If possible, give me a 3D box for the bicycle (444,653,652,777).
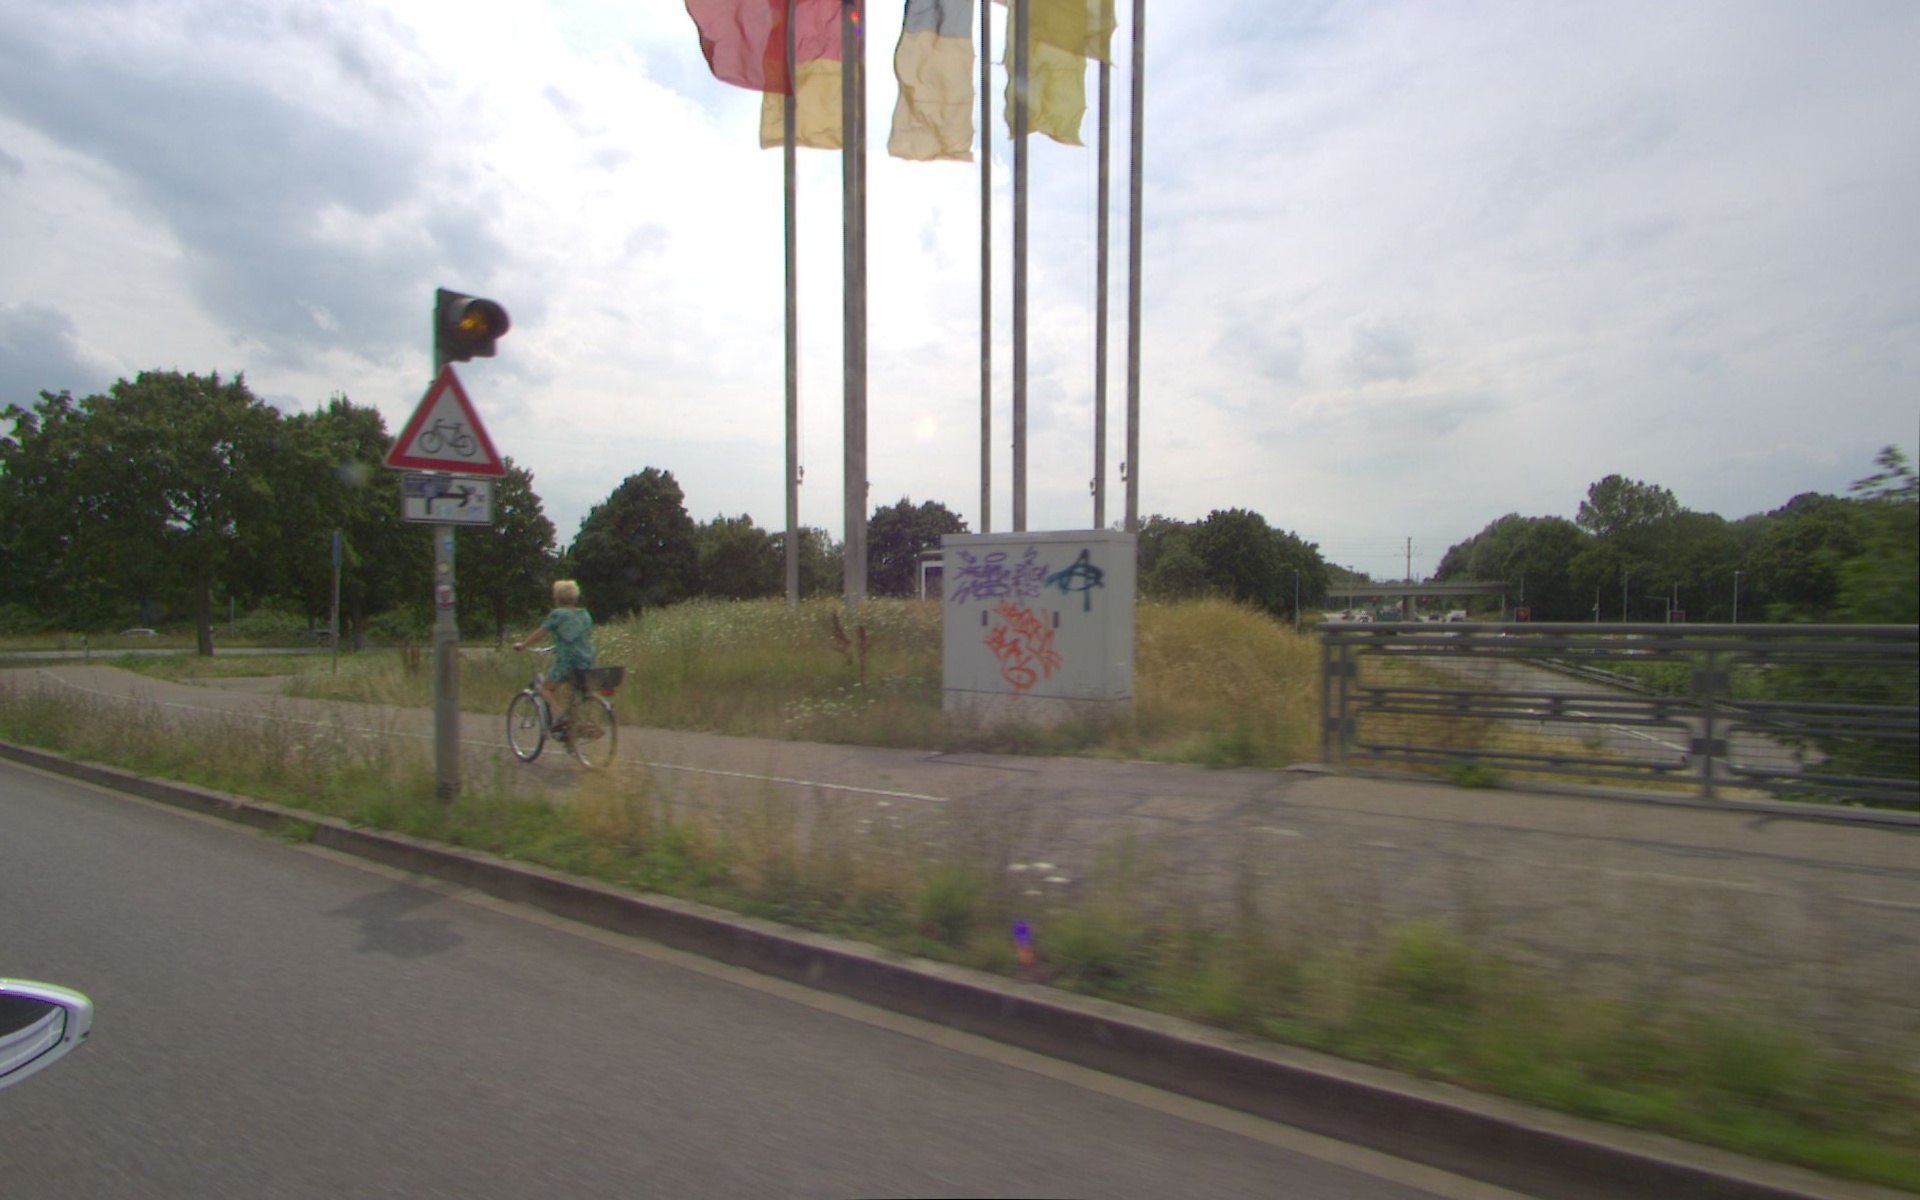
[{"bbox_3d":[-3.724,0.980,8.963,2.123,0.900,0.622,1,1,33],"label":"bicycle"}]

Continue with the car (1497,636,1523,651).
[{"bbox_3d":[66.515,5.293,121.106,1.964,1.606,3.994,0,1,16],"label":"car"}]

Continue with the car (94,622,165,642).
[{"bbox_3d":[-65.086,2.518,78.531,3.929,1.483,1.769,1,0,-16],"label":"car"}]

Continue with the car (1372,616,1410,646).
[{"bbox_3d":[60.126,4.268,139.901,3.281,3.948,7.505,1,0,12],"label":"car"}]

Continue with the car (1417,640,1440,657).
[{"bbox_3d":[50.573,5.208,108.148,1.663,1.566,3.994,1,0,17],"label":"car"}]

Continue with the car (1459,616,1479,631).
[{"bbox_3d":[86.576,4.009,170.289,2.043,2.524,4.358,1,0,13],"label":"car"}]

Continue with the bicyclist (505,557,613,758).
[{"bbox_3d":[-3.541,0.481,8.849,0.659,1.688,0.620,1,1,32],"label":"bicyclist"}]

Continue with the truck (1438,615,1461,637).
[{"bbox_3d":[73.869,3.925,151.084,1.962,3.192,4.378,0,1,10],"label":"truck"}]

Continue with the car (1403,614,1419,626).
[{"bbox_3d":[91.927,4.056,204.163,2.043,2.524,4.358,1,0,13],"label":"car"}]

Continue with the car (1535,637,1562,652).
[{"bbox_3d":[70.891,5.334,120.747,1.964,1.606,3.992,0,1,18],"label":"car"}]
